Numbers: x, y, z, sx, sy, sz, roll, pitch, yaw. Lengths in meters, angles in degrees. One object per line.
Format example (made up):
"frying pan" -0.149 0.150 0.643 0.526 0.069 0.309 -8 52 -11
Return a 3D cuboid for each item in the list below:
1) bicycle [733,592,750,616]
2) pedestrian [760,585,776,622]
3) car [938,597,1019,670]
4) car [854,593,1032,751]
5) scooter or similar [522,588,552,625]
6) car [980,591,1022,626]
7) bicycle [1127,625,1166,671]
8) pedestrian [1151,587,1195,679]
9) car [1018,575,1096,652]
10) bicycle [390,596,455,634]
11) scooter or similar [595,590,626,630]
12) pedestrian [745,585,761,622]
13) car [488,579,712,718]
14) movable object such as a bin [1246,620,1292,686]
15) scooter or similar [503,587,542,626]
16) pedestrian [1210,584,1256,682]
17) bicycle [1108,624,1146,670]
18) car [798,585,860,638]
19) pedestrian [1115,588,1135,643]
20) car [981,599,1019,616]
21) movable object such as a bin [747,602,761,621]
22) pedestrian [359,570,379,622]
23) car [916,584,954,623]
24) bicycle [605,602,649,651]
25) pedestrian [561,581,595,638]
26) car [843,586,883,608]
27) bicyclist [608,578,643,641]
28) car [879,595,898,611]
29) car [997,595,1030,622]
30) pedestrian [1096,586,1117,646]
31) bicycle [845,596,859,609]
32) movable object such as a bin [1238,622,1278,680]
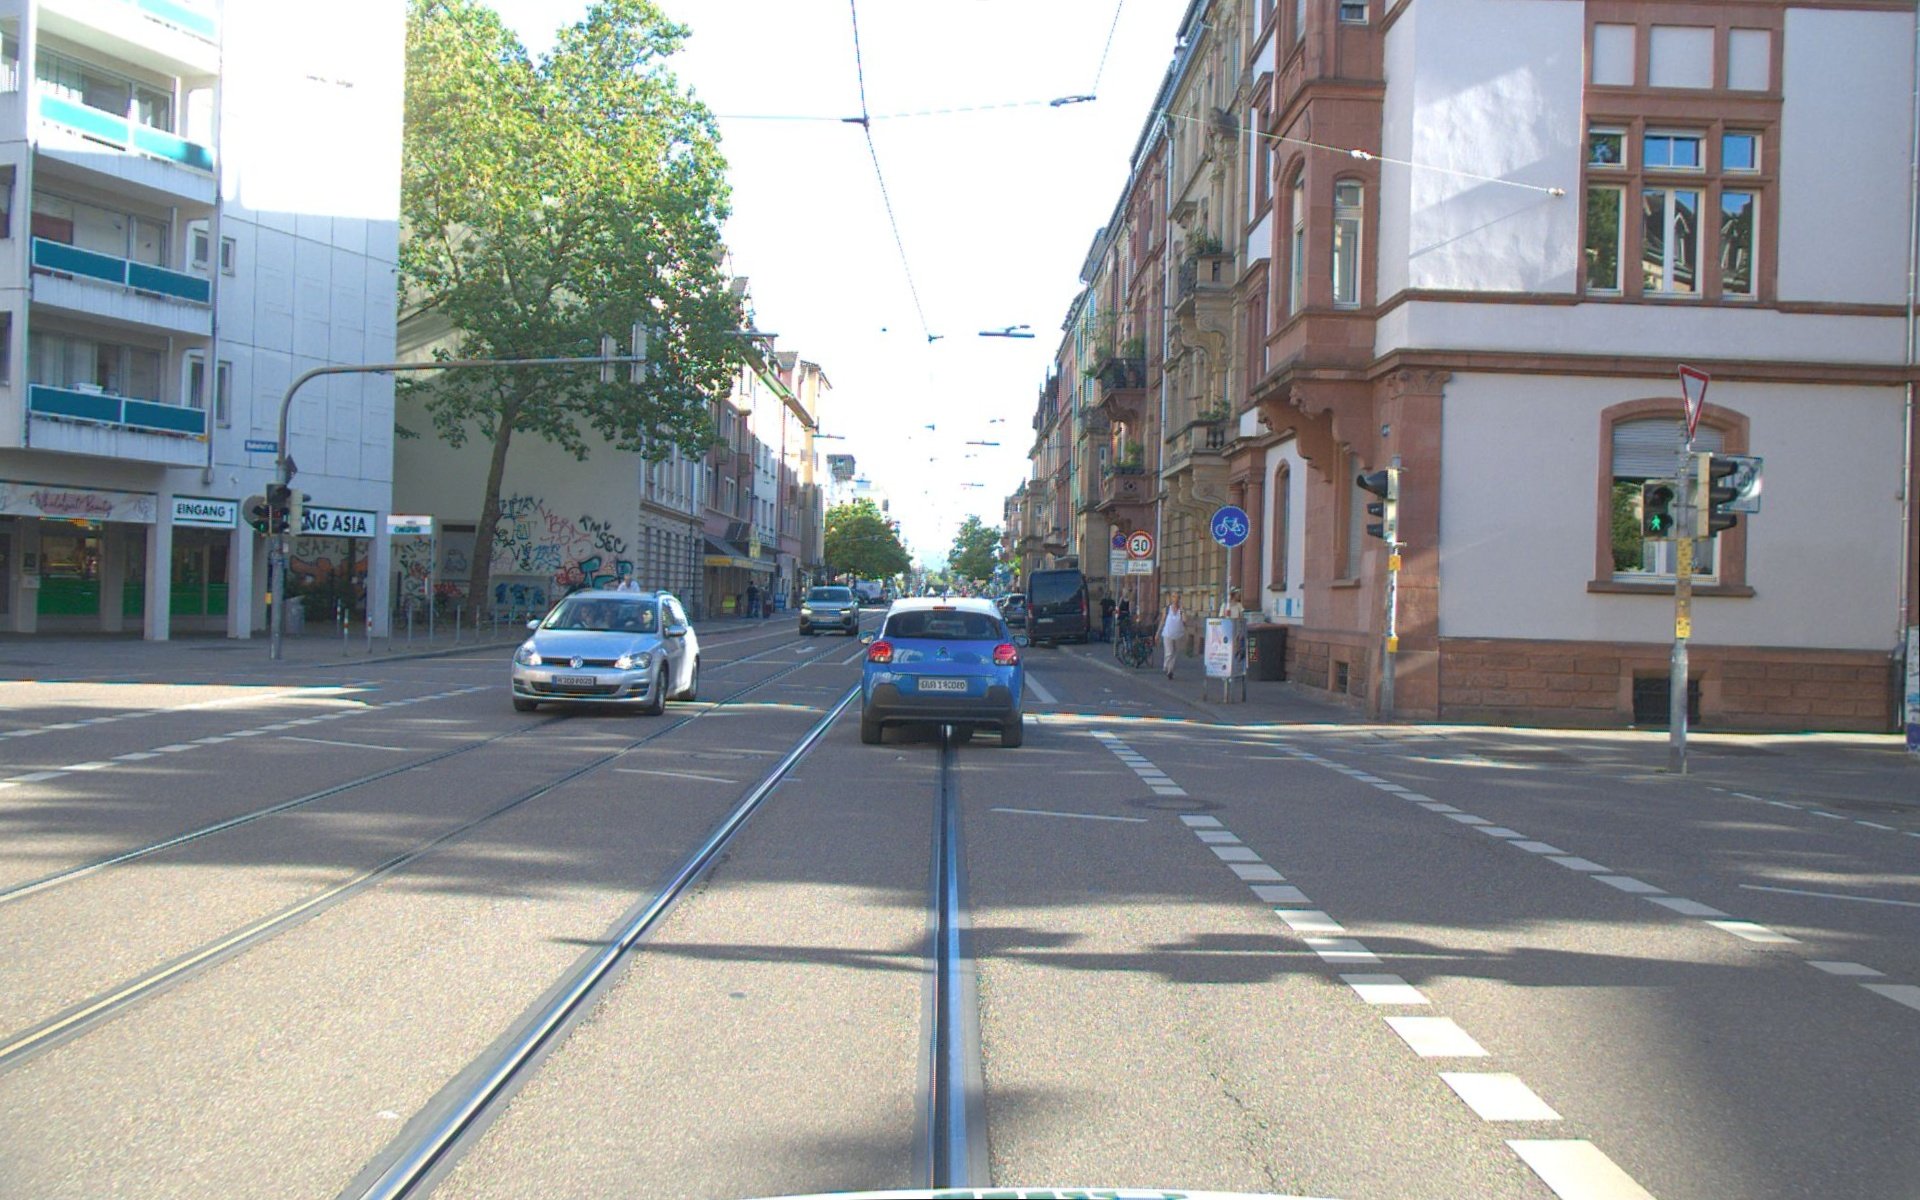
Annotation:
"bicycle" -11.131 0.210 84.346 0.610 1.180 2.058 1 0 -14
"pedestrian" -9.554 0.177 82.243 0.697 1.795 0.653 1 0 -9
"car" 0.366 0.717 37.098 1.633 1.504 3.999 1 0 -2
"car" -0.286 0.703 18.227 1.641 1.503 3.996 2 0 -5
"scooter or similar" -14.468 0.218 56.569 0.921 1.243 0.765 2 0 -13
"car" 2.081 0.431 84.785 1.965 1.702 4.805 1 0 -1
"bicycle" 4.180 1.062 37.122 0.423 0.964 1.760 2 0 -8
"pedestrian" 4.092 0.628 31.815 0.615 1.731 0.681 2 0 -10
"car" 3.301 0.460 57.506 2.225 2.479 5.719 2 0 -1
"bicycle" -15.998 0.457 49.260 1.878 1.052 0.664 2 0 26
"scooter or similar" -12.101 0.347 57.279 0.772 1.293 1.074 4 1 -2
"pedestrian" -10.254 0.173 82.078 0.696 1.795 0.570 1 0 -2
"car" -4.393 0.545 20.881 1.945 1.528 4.307 2 0 -2
"movable object such as a bin" 5.889 1.004 31.550 0.653 1.173 0.594 -5 1 -2
"scooter or similar" -14.726 0.208 55.704 1.207 1.280 0.765 2 0 -13
"pedestrian" 5.139 0.610 31.181 0.691 1.813 0.672 -1 0 -2
"bicycle" 3.730 1.035 37.041 0.423 0.964 1.760 2 0 -8
"car" -4.668 0.390 59.339 1.953 1.774 4.561 2 0 -2
"pedestrian" 5.584 0.525 56.057 0.542 1.813 0.606 2 0 -2
"car" 4.214 0.814 174.385 3.759 1.646 1.790 1 0 -3
"movable object such as a bin" -10.313 0.559 82.762 0.598 0.930 0.695 1 0 -1
"pedestrian" -19.788 -0.133 55.350 0.446 1.748 0.547 1 0 -2
"car" -1.393 0.181 89.402 1.953 2.049 3.999 1 0 -2
"bicycle" -8.137 0.633 40.433 0.679 1.140 2.083 2 0 -2
"pedestrian" -12.202 0.299 52.815 0.668 1.796 1.026 1 0 10
"car" -11.609 -0.391 197.798 4.256 2.626 2.191 0 0 -27
"bicyclist" -8.130 0.225 40.252 0.668 1.509 0.778 2 0 -2
"car" -7.798 0.302 181.424 1.953 1.680 3.999 1 0 -2
"car" 3.509 0.538 109.159 1.965 1.701 4.390 2 0 -1
"pedestrian" 5.054 0.561 57.104 0.573 2.049 0.823 2 0 -2
"bicycle" -9.709 0.236 148.762 1.099 1.166 3.639 1 0 -6
"movable object such as a bin" 5.805 0.983 32.209 0.652 1.096 0.571 1 0 -2
